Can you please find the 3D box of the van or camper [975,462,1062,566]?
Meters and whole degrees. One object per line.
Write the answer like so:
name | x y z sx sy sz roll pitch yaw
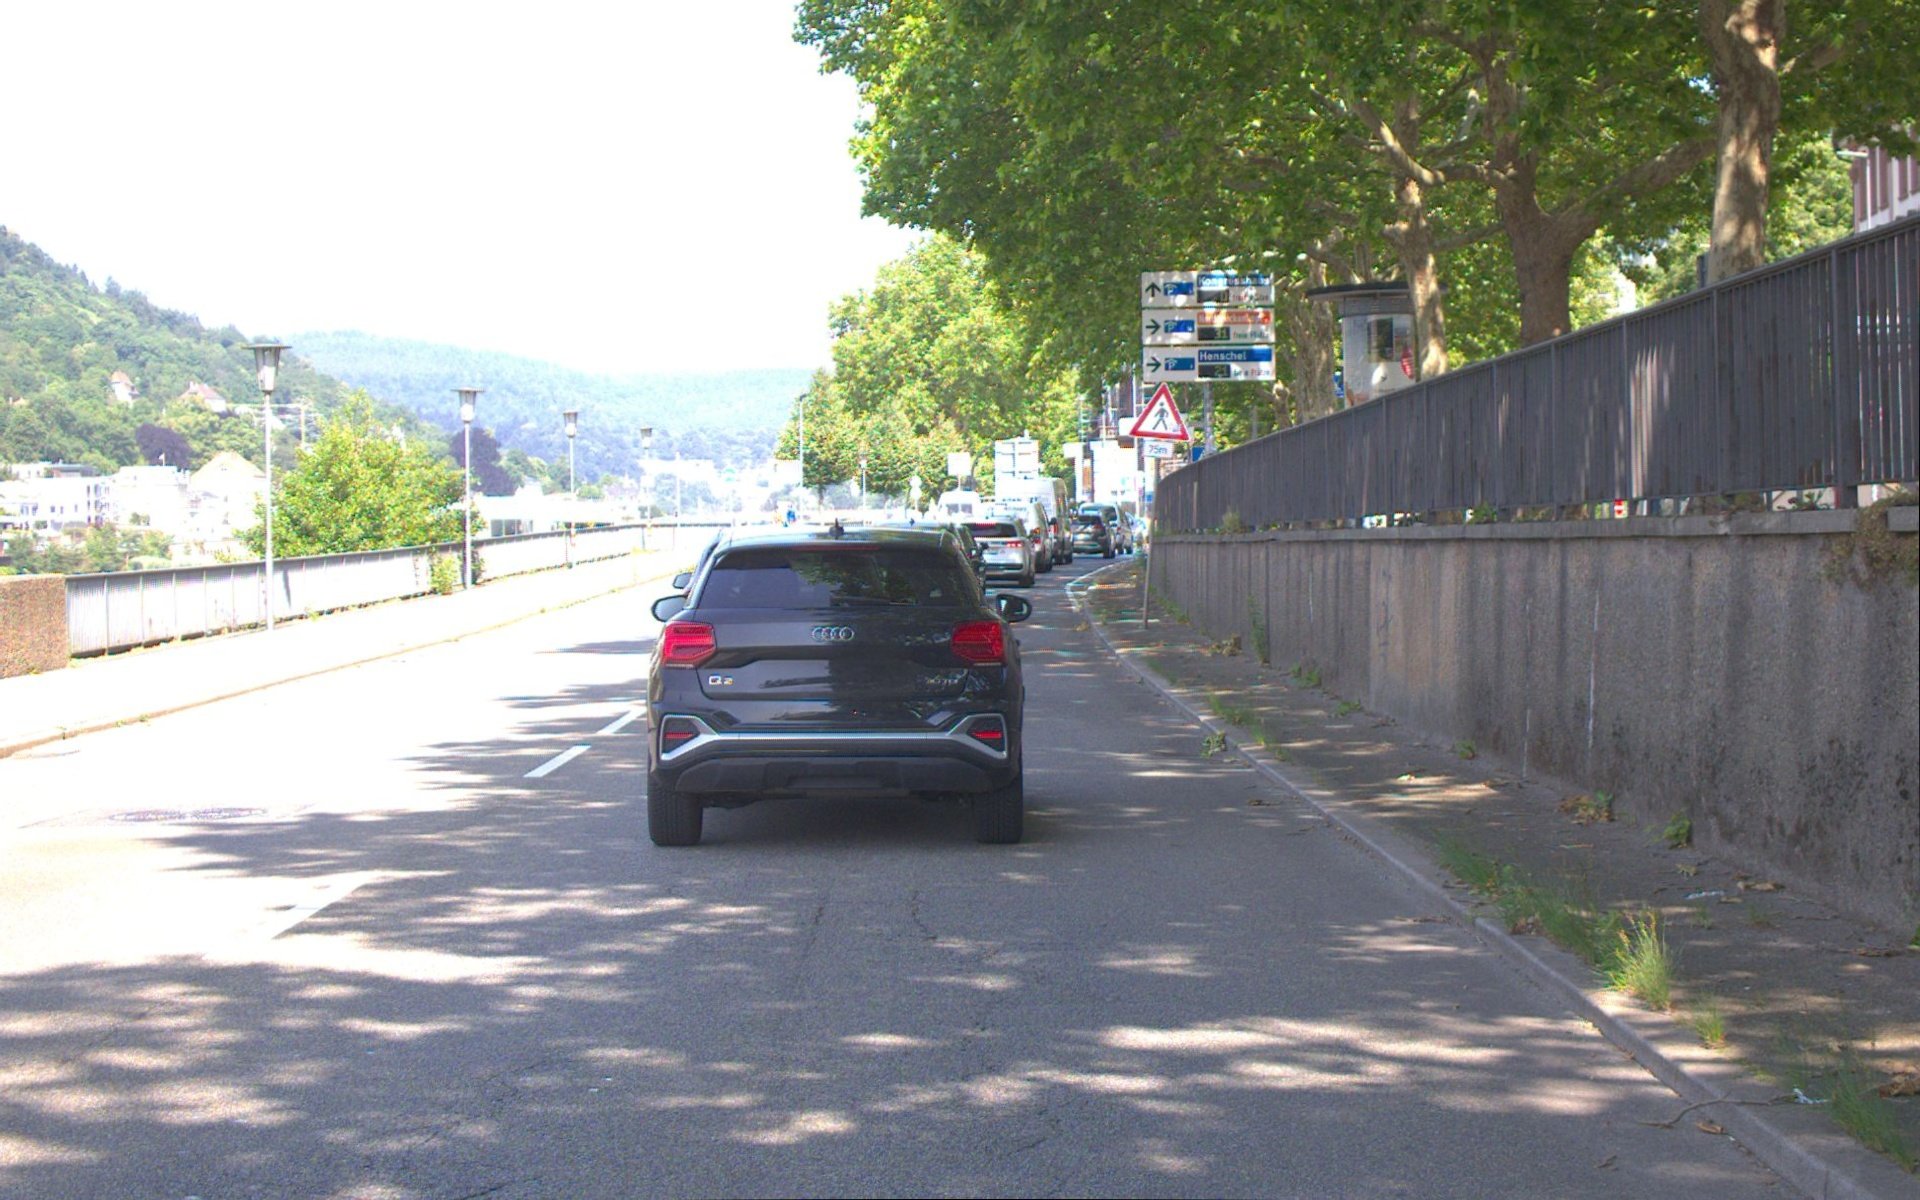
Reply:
van or camper | 1.701 -2.488 99.710 2.310 2.837 4.246 -3 1 1

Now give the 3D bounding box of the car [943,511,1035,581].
car | 0.582 -1.157 72.607 1.828 1.439 4.000 0 1 -1

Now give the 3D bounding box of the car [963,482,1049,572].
car | 1.181 -1.908 89.556 1.993 2.162 4.000 -3 1 -1

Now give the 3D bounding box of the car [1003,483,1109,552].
car | 3.092 -2.695 112.489 3.098 2.006 5.825 -3 1 -1

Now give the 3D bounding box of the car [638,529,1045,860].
car | -0.571 0.384 17.463 1.828 1.481 4.000 0 1 -1

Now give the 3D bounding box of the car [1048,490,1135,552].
car | 4.642 -2.829 122.585 2.661 2.006 5.825 -3 1 -1

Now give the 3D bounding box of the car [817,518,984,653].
car | -0.686 -0.203 39.592 1.828 1.481 4.000 0 1 -1

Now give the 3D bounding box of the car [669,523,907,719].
car | -1.360 0.115 28.437 1.828 1.506 4.000 0 1 -1
